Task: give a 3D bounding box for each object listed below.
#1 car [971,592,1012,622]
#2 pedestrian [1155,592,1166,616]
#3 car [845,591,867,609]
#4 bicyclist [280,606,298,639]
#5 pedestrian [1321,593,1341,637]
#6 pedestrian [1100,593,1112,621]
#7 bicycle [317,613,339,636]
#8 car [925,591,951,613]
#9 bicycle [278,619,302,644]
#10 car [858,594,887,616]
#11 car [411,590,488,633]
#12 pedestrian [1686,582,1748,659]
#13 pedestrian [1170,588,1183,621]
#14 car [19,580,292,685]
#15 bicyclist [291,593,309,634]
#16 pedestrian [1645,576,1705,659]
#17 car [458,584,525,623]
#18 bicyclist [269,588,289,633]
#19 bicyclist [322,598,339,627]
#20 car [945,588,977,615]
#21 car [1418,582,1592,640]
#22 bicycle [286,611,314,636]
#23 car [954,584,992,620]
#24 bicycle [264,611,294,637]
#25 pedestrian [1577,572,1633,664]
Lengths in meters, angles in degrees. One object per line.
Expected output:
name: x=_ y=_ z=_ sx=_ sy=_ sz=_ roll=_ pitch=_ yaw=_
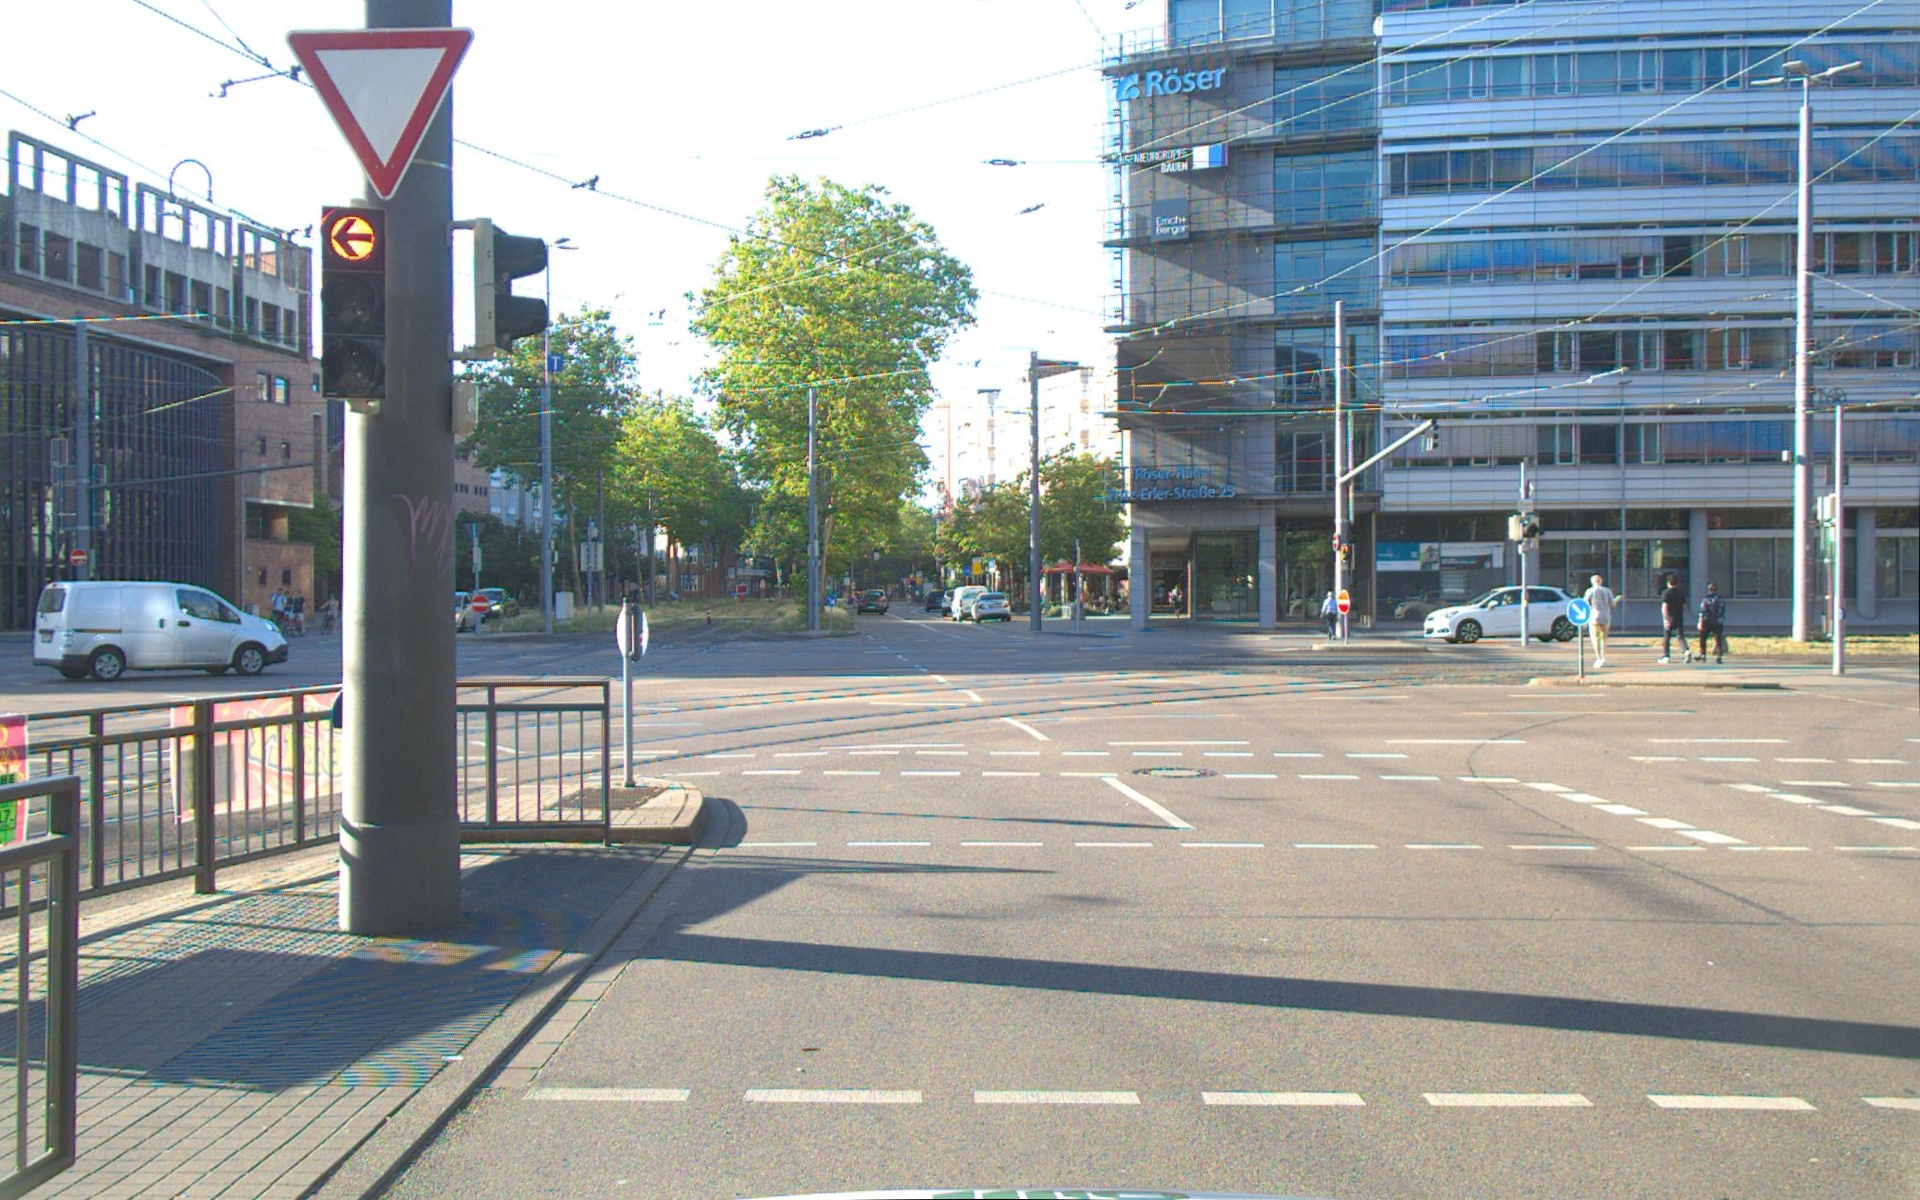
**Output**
car: x=1.551 y=0.335 z=82.800 sx=1.953 sy=1.400 sz=3.999 roll=-1 pitch=0 yaw=-1
pedestrian: x=15.194 y=0.301 z=125.479 sx=0.729 sy=1.744 sz=0.612 roll=-1 pitch=0 yaw=-1
car: x=-9.208 y=0.009 z=146.703 sx=1.762 sy=1.467 sz=3.998 roll=1 pitch=0 yaw=-2
bicyclist: x=-27.643 y=0.936 z=68.138 sx=0.495 sy=1.327 sz=0.581 roll=-1 pitch=0 yaw=-1
pedestrian: x=12.865 y=0.512 z=57.369 sx=0.599 sy=1.534 sz=0.579 roll=-1 pitch=0 yaw=7
pedestrian: x=9.283 y=0.460 z=105.172 sx=0.729 sy=1.744 sz=0.612 roll=-1 pitch=0 yaw=-1
bicycle: x=-27.177 y=1.056 z=71.113 sx=0.442 sy=0.980 sz=1.347 roll=-1 pitch=0 yaw=-1
car: x=-1.659 y=0.129 z=126.646 sx=1.953 sy=1.646 sz=3.999 roll=-1 pitch=0 yaw=-1
bicycle: x=-27.639 y=1.306 z=68.196 sx=0.458 sy=0.980 sz=1.320 roll=-1 pitch=0 yaw=-1
car: x=-5.845 y=0.320 z=110.371 sx=1.761 sy=1.467 sz=3.999 roll=-1 pitch=0 yaw=-1
car: x=-20.654 y=0.442 z=67.050 sx=1.953 sy=1.668 sz=3.999 roll=-1 pitch=0 yaw=-2
pedestrian: x=15.950 y=0.420 z=34.862 sx=0.928 sy=1.591 sz=0.897 roll=-1 pitch=0 yaw=6
pedestrian: x=10.213 y=0.201 z=78.128 sx=0.599 sy=1.534 sz=0.579 roll=-1 pitch=0 yaw=7
car: x=-15.611 y=0.578 z=32.284 sx=1.730 sy=1.899 sz=4.498 roll=-1 pitch=0 yaw=42
bicyclist: x=-26.106 y=0.526 z=65.409 sx=0.449 sy=1.631 sz=0.581 roll=-1 pitch=0 yaw=-1
pedestrian: x=15.163 y=0.368 z=35.108 sx=0.893 sy=1.714 sz=1.036 roll=-1 pitch=0 yaw=6
car: x=-21.107 y=0.142 z=74.609 sx=1.953 sy=1.668 sz=3.999 roll=-1 pitch=0 yaw=-2
bicyclist: x=-26.805 y=0.410 z=65.075 sx=0.525 sy=1.761 sz=0.581 roll=-1 pitch=0 yaw=-1
bicyclist: x=-27.091 y=0.532 z=71.137 sx=0.495 sy=1.199 sz=0.581 roll=-1 pitch=0 yaw=-1
car: x=0.054 y=0.069 z=105.223 sx=1.953 sy=1.646 sz=3.999 roll=-1 pitch=0 yaw=-1
car: x=14.875 y=0.283 z=45.282 sx=4.205 sy=1.514 sz=1.762 roll=-1 pitch=0 yaw=2
bicycle: x=-26.096 y=0.923 z=65.416 sx=0.463 sy=0.980 sz=1.575 roll=-1 pitch=0 yaw=-1
car: x=0.703 y=0.114 z=89.586 sx=1.953 sy=1.892 sz=3.999 roll=-1 pitch=0 yaw=-1
bicycle: x=-26.815 y=0.941 z=65.169 sx=0.531 sy=0.980 sz=1.586 roll=-1 pitch=0 yaw=-1
pedestrian: x=13.060 y=0.355 z=33.508 sx=0.845 sy=1.820 sz=0.872 roll=-1 pitch=0 yaw=6
